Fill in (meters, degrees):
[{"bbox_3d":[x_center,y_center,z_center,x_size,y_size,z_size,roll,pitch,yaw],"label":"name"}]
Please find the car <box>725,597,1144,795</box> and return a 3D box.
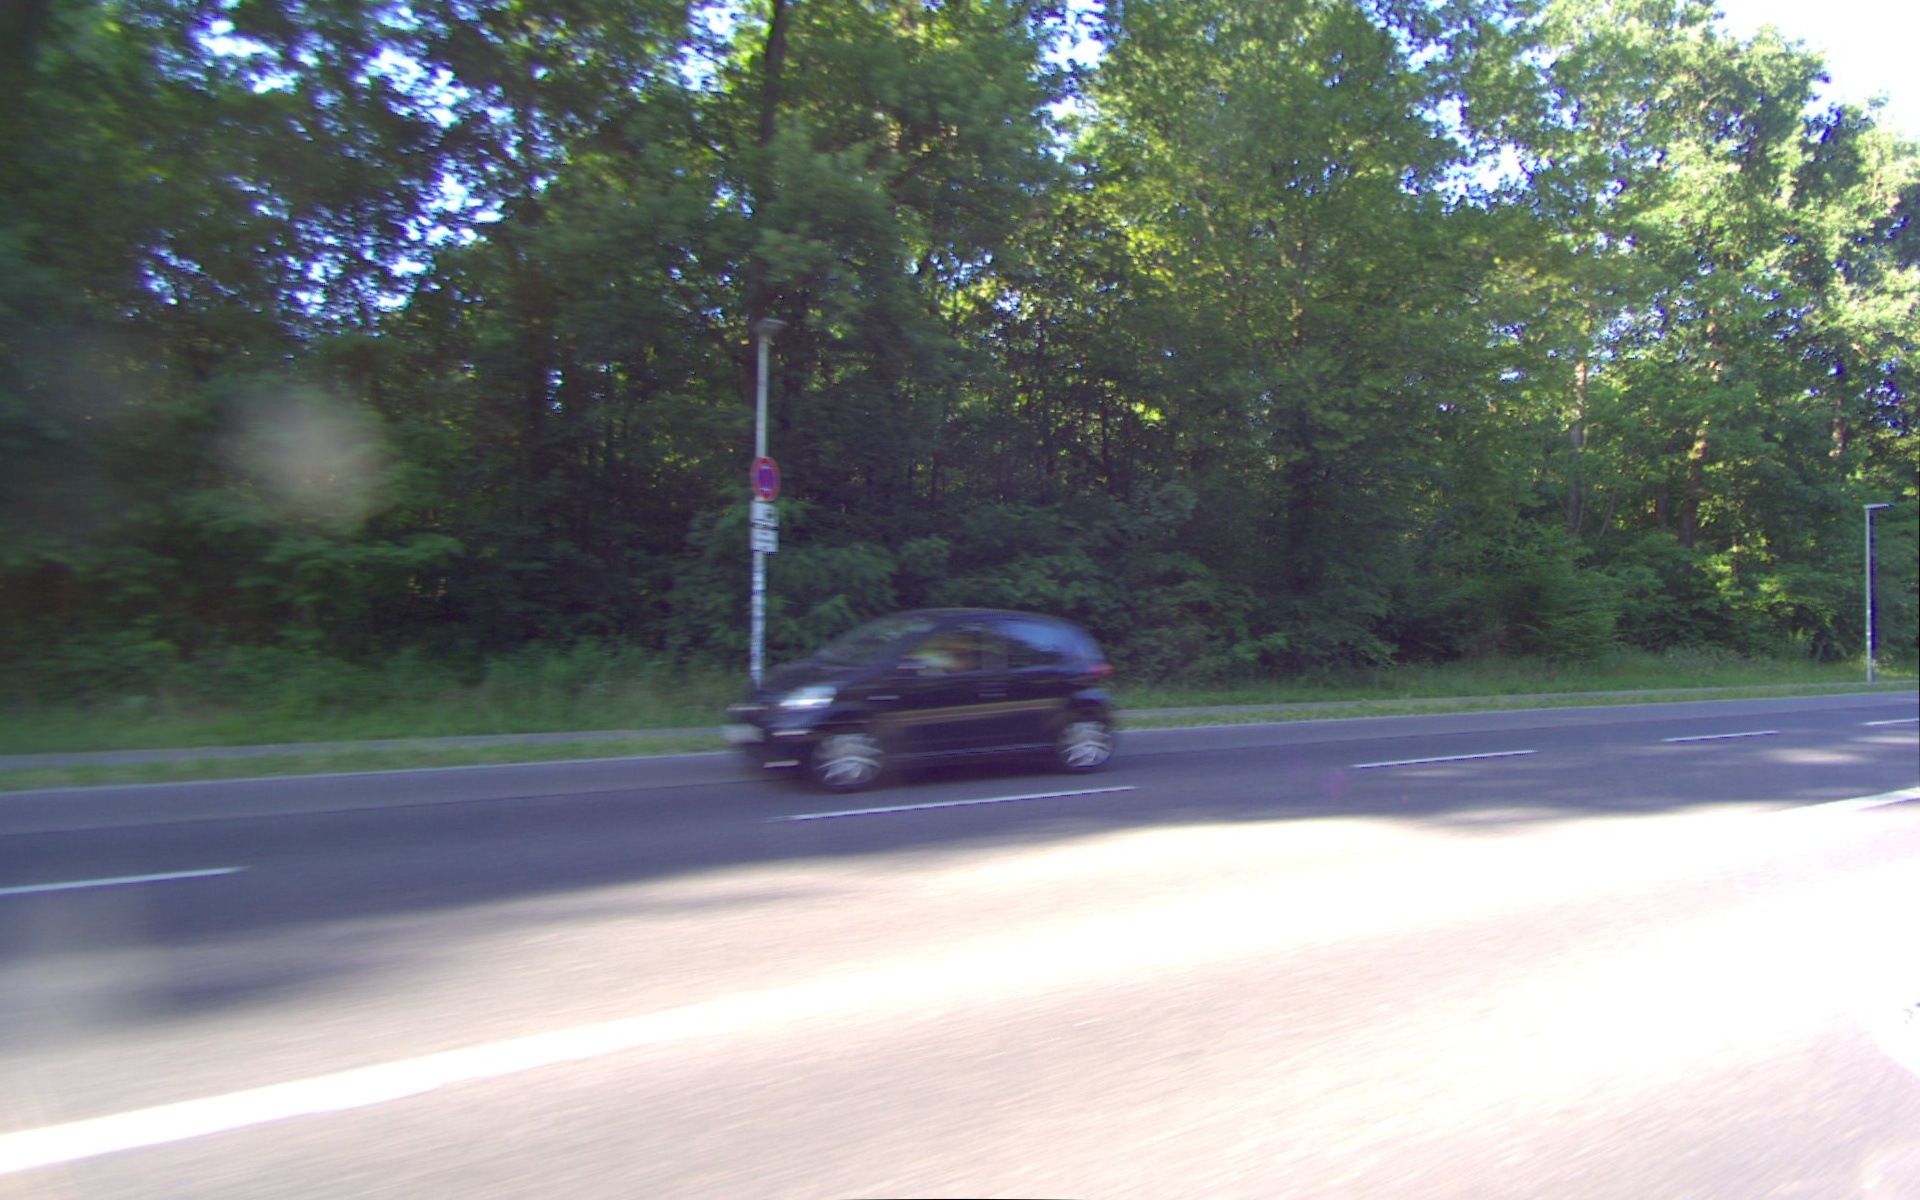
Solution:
[{"bbox_3d":[-0.187,0.748,9.008,3.458,1.464,1.488,1,0,-30],"label":"car"}]
